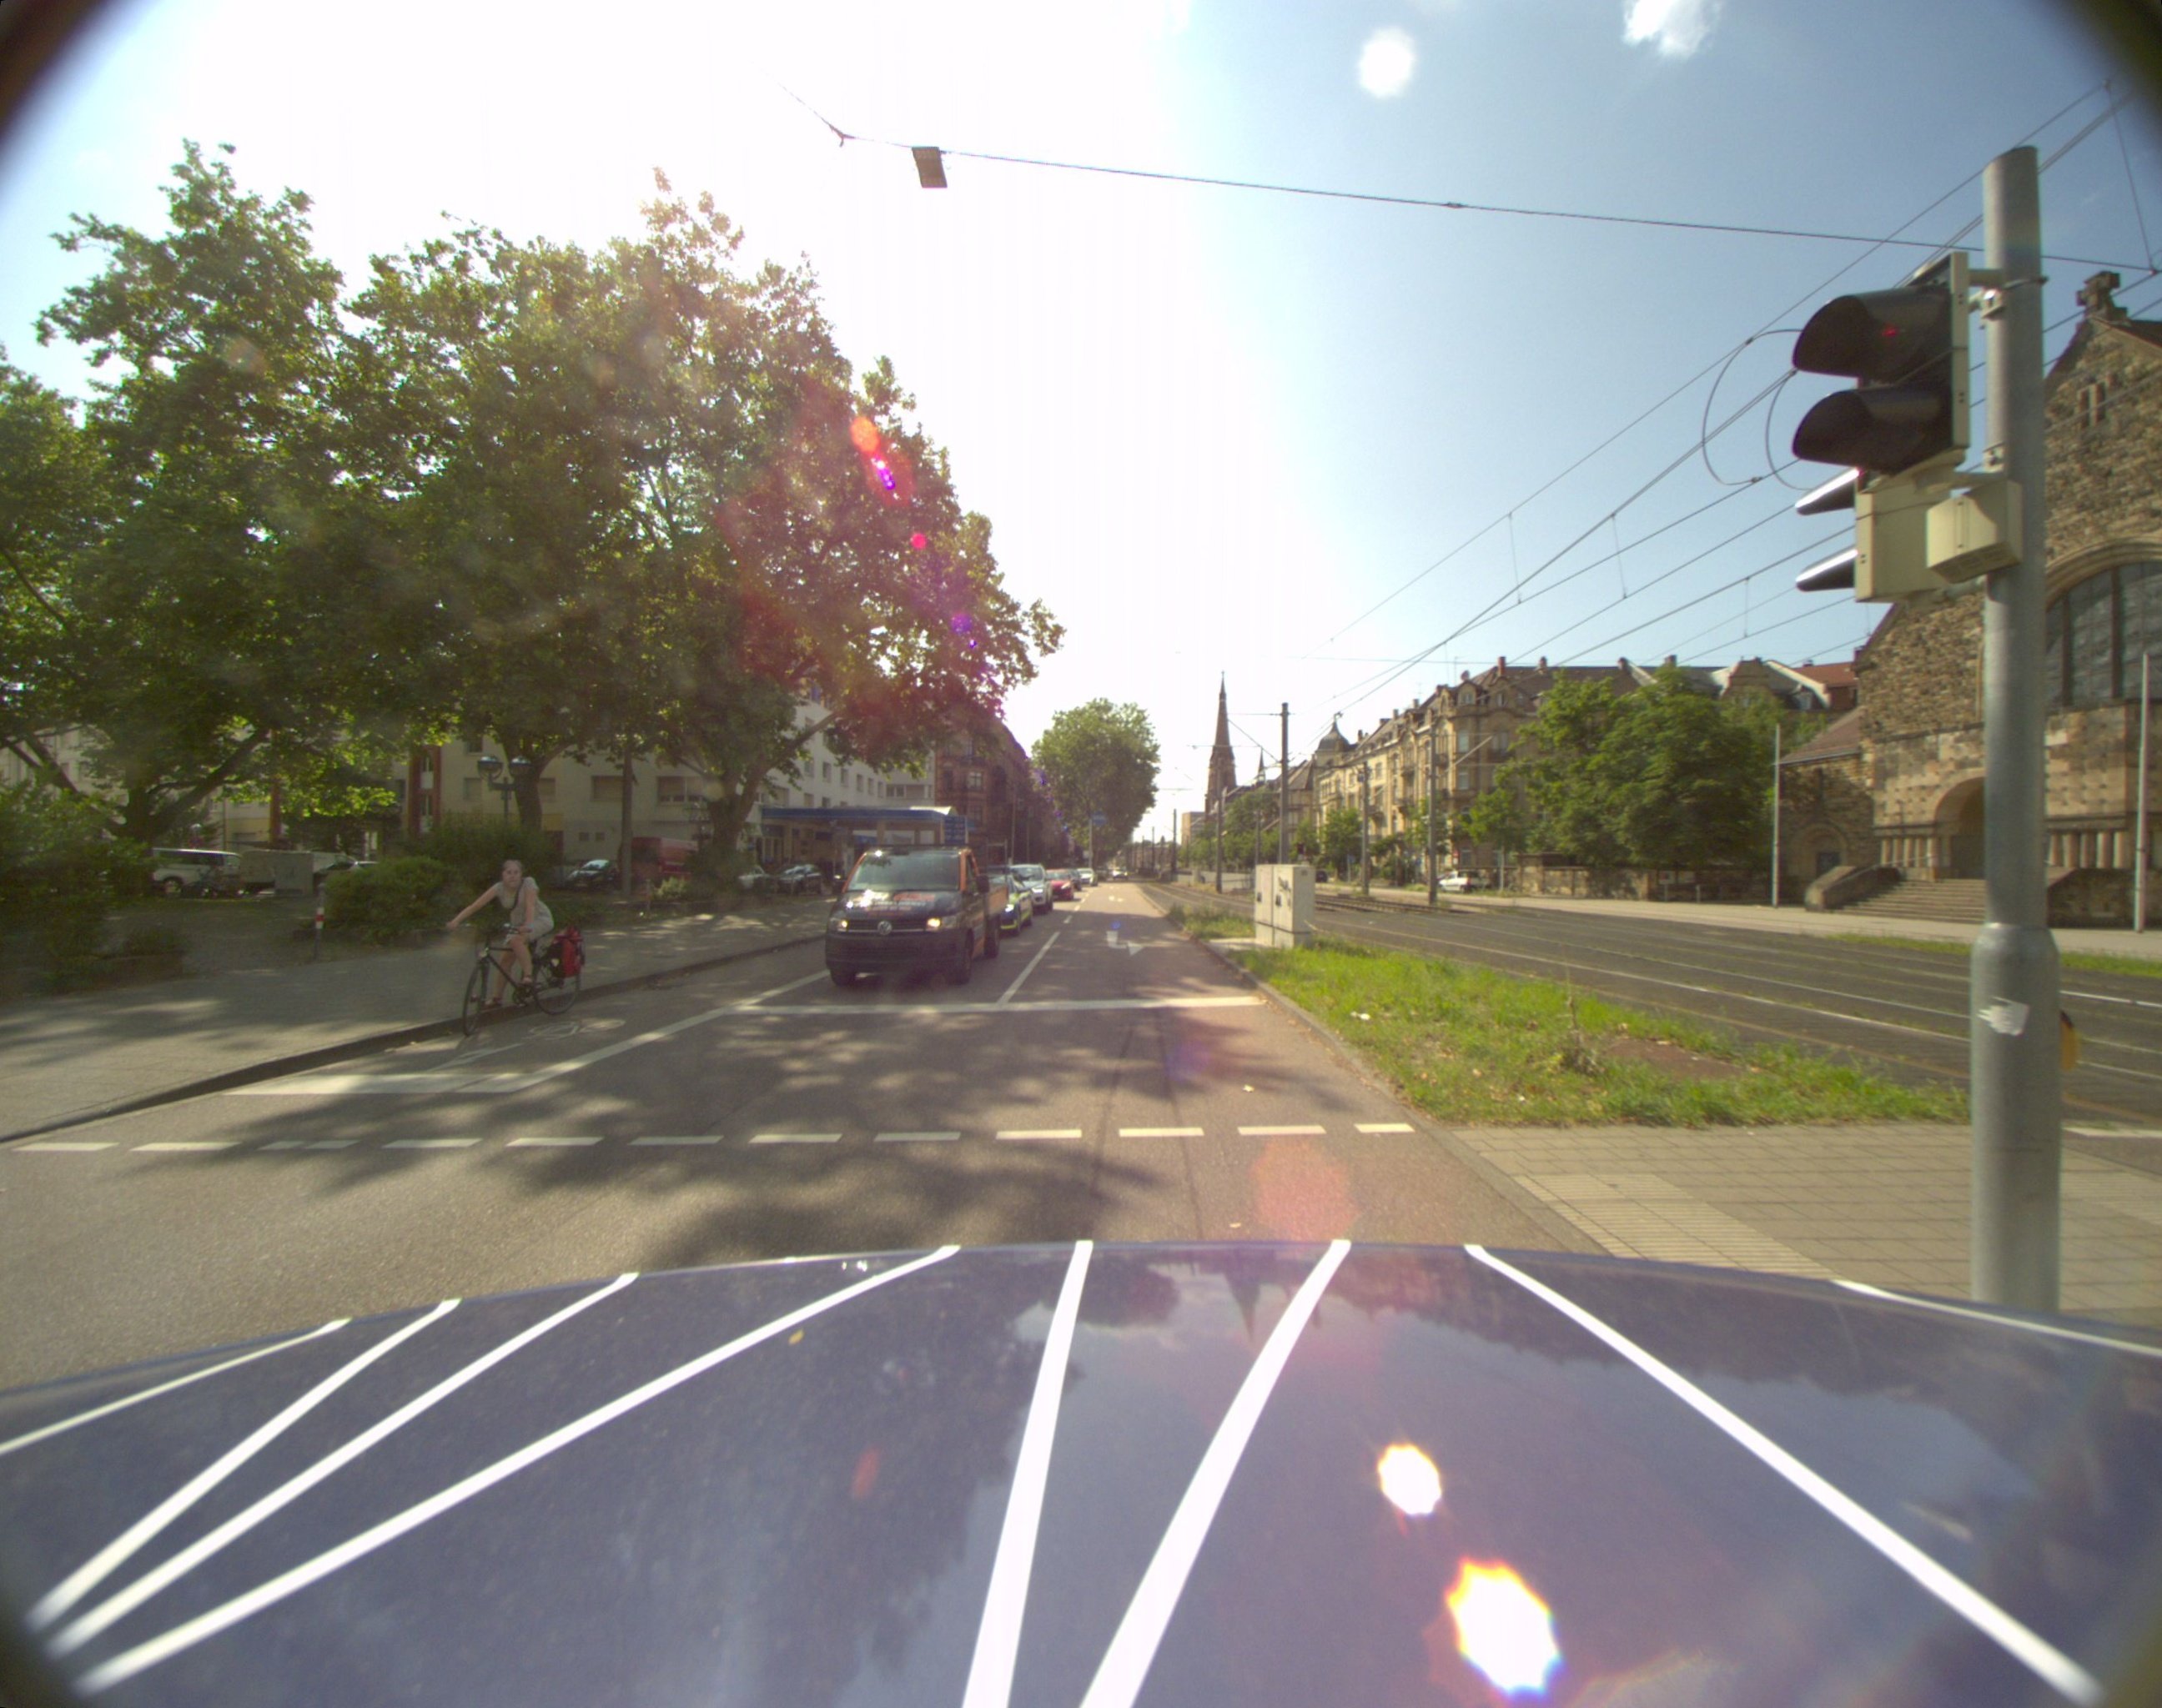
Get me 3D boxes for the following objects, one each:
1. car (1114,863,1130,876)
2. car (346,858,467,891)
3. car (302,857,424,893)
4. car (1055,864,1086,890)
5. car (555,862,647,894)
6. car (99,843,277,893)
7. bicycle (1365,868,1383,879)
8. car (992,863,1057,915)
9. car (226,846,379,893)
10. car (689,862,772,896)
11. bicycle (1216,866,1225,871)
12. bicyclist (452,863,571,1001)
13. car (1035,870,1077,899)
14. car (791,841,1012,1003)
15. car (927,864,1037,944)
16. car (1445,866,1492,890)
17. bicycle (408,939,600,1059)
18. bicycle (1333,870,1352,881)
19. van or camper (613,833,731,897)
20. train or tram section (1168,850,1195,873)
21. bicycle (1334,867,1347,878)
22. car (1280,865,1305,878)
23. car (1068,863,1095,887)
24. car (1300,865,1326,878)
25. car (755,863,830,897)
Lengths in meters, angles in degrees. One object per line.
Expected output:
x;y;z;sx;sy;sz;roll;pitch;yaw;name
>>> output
4.942;1.833;91.618;1.764;1.490;4.187;1;0;2;car
-29.953;0.878;33.926;1.766;1.356;4.000;-2;0;1;car
-32.589;0.909;34.648;1.663;1.511;4.000;-2;0;1;car
-0.635;1.449;48.097;1.764;1.490;4.187;1;0;2;car
-21.173;1.015;33.715;1.477;1.286;4.000;-2;0;1;car
-40.344;0.606;34.595;1.999;2.074;5.252;-2;0;-3;car
31.514;2.079;81.702;1.710;1.063;0.471;-2;0;-4;bicycle
-1.879;1.146;26.623;1.764;1.597;4.679;0;0;2;car
-35.098;0.650;34.486;1.998;1.923;4.683;-2;0;1;car
-15.483;1.085;33.805;1.756;1.402;4.000;0;0;1;car
29.569;3.069;160.642;1.821;0.897;0.604;-2;0;-1;bicycle
-5.913;0.768;7.926;0.470;1.335;0.910;1;0;10;bicyclist
-1.120;1.403;35.417;1.620;1.182;3.634;1;0;3;car
-2.467;0.792;12.053;2.080;1.975;5.335;0;1;2;car
-2.310;1.131;19.145;1.871;1.642;5.154;-1;0;2;car
25.815;1.585;50.714;1.671;1.408;3.847;2;0;10;car
-5.913;1.442;7.919;0.470;0.916;1.718;1;0;10;bicycle
26.791;2.219;77.864;1.710;1.063;0.471;1;0;-4;bicycle
-18.311;0.461;34.396;2.107;2.626;5.351;-2;0;3;van or camper
16.212;1.208;123.161;2.860;3.559;12.837;1;0;1;train or tram section
30.070;2.131;88.095;0.659;1.241;2.943;-2;-1;2;bicycle
27.017;2.211;96.976;1.803;1.517;4.489;-1;0;-2;car
0.084;1.633;60.286;1.952;1.597;5.076;0;1;2;car
26.551;1.977;86.965;1.690;1.493;4.709;0;0;3;car
-12.750;1.111;33.863;1.756;1.402;4.000;0;0;1;car
